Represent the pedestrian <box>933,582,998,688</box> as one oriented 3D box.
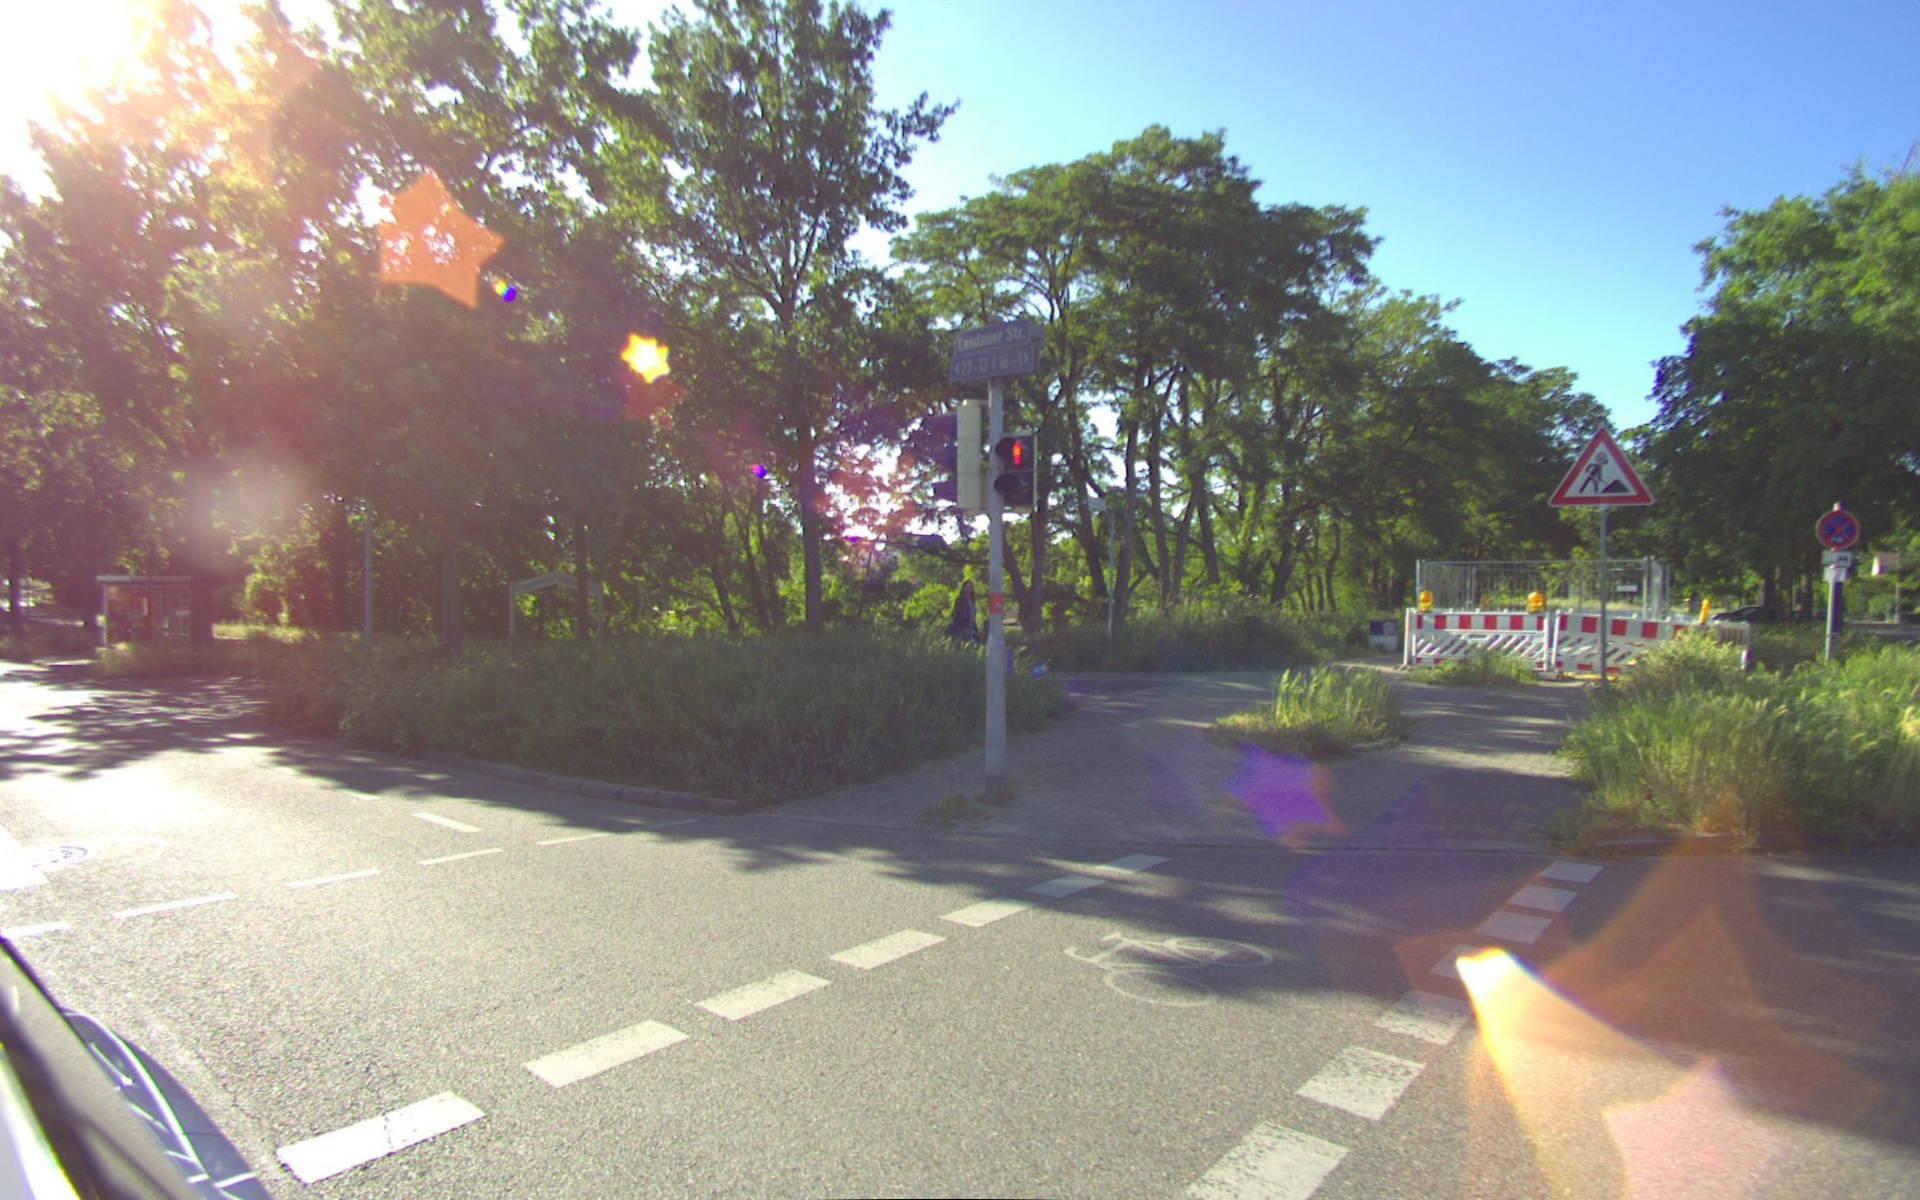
[{"bbox_3d":[0.085,0.544,16.219,0.647,1.645,0.790,-1,1,41],"label":"pedestrian"}]
